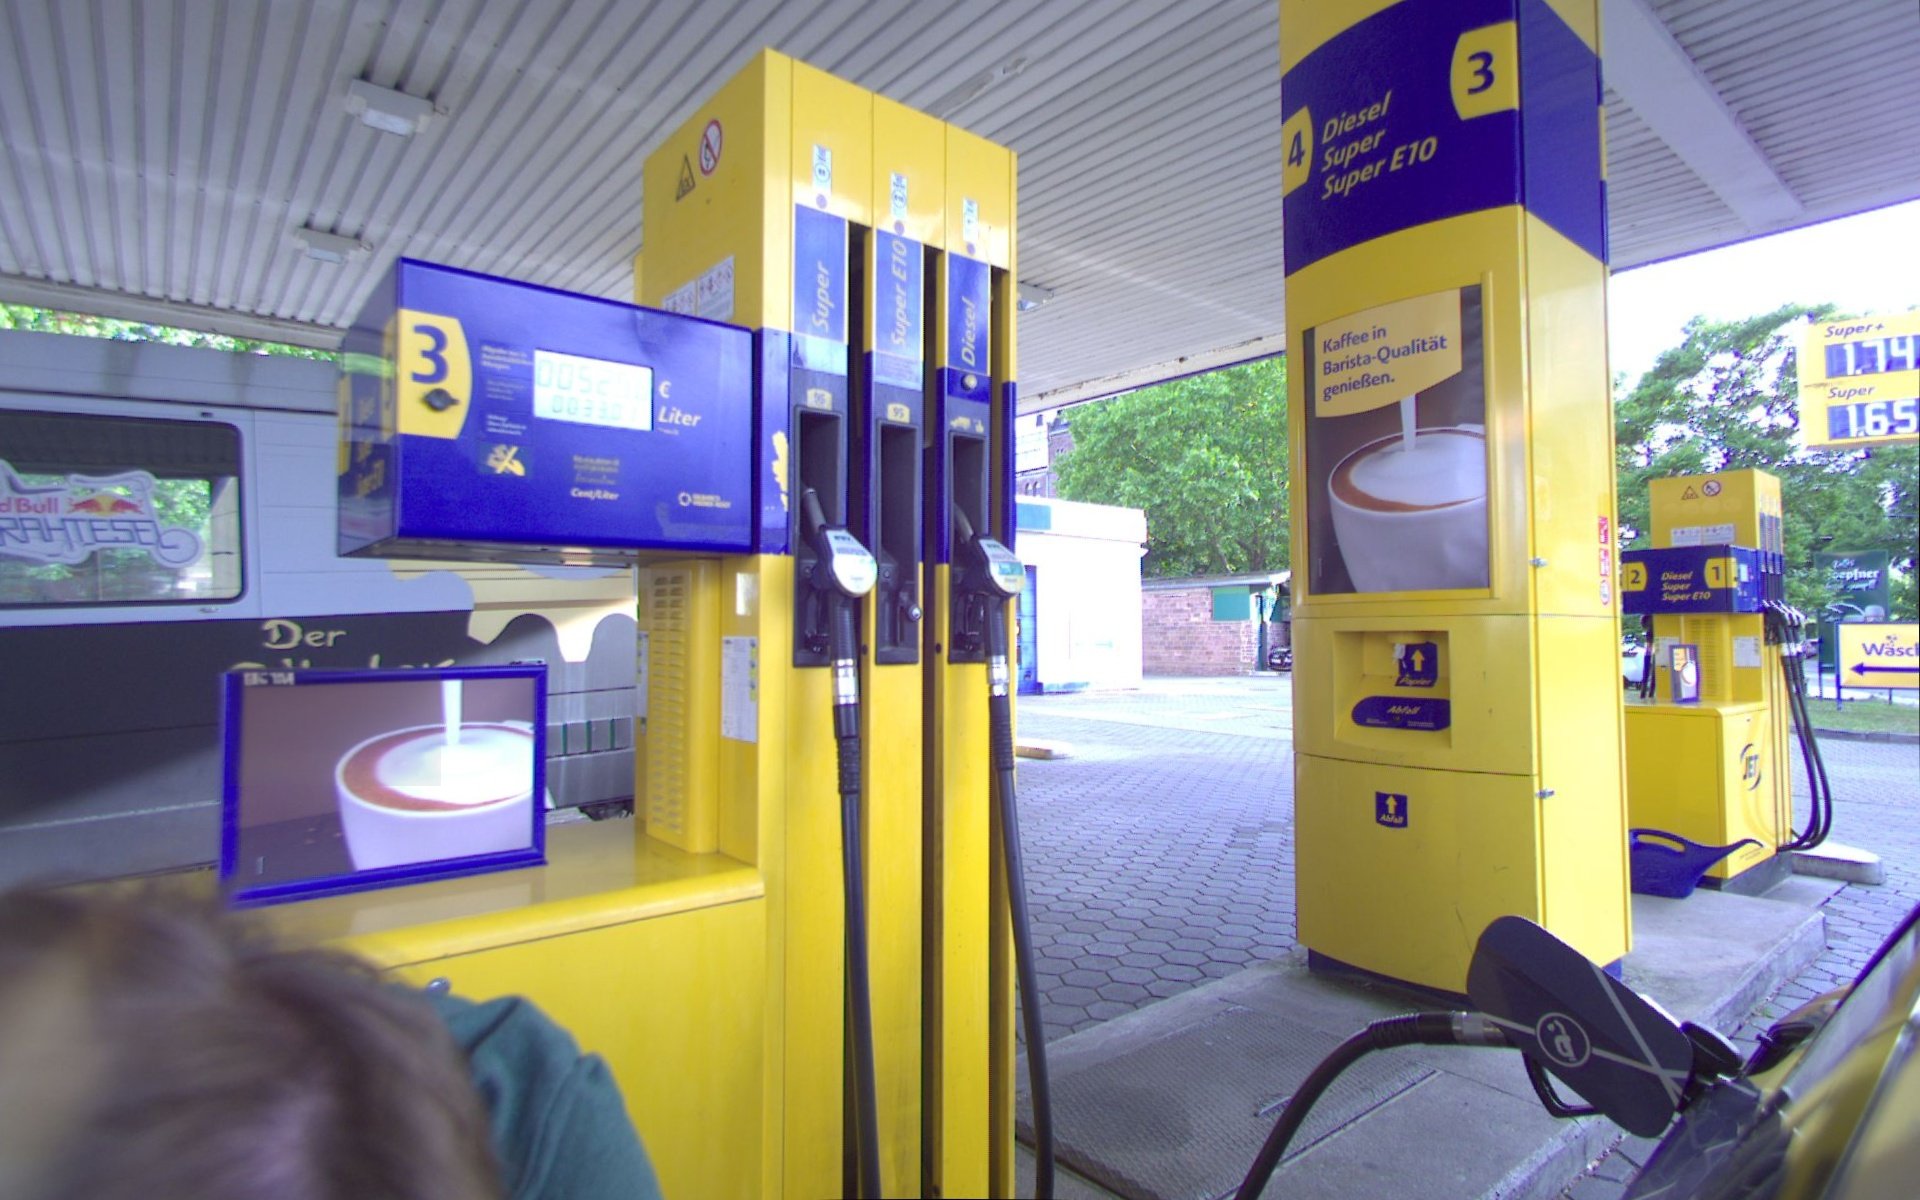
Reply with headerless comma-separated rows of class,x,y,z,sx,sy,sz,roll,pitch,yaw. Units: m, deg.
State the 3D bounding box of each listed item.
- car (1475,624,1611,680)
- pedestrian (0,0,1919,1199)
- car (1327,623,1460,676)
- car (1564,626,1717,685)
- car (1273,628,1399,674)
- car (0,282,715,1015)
car,17.778,1.578,30.847,4.112,1.606,1.826,2,-3,-31
pedestrian,-0.323,0.524,0.562,0.975,1.750,1.182,-2,1,-36
car,13.789,1.569,32.166,4.112,1.606,1.826,2,-3,-31
car,18.261,1.487,27.131,4.112,1.478,1.826,2,-3,-31
car,12.649,1.699,34.029,4.112,1.453,1.826,2,-3,-31
car,-4.090,0.191,4.851,5.248,2.760,2.201,0,-1,-39
